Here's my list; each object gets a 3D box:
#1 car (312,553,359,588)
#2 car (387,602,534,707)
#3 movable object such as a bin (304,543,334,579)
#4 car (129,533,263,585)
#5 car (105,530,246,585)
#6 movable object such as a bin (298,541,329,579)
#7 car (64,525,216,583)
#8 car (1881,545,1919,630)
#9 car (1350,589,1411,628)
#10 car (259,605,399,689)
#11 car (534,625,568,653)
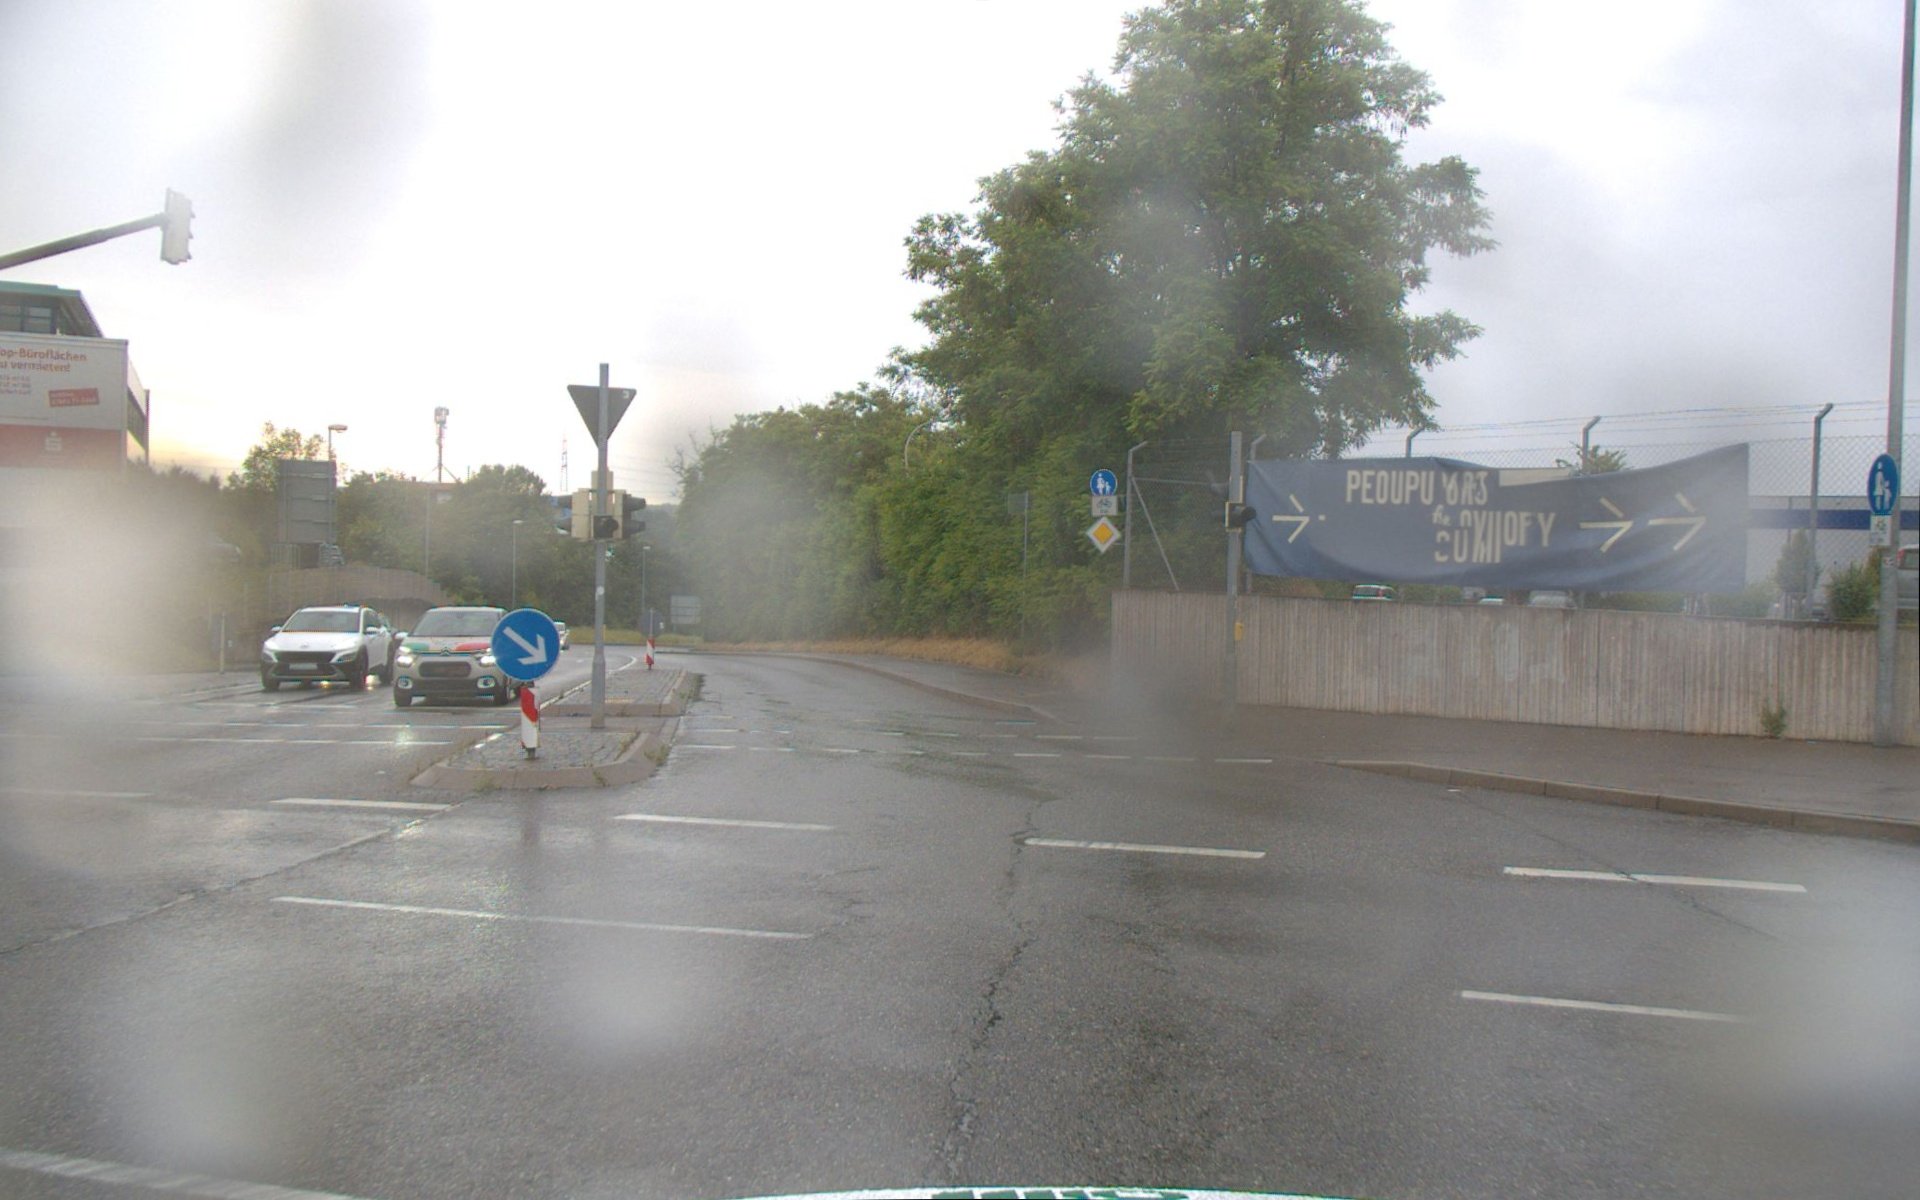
[{"bbox_3d":[-30.143,-1.397,79.915,1.798,1.467,3.980,2,-2,-17],"label":"car"},{"bbox_3d":[-7.844,0.821,26.294,1.630,1.521,3.992,1,-1,-8],"label":"car"},{"bbox_3d":[-27.402,-1.661,70.733,1.066,1.462,1.439,2,-2,-17],"label":"movable object such as a bin"},{"bbox_3d":[-25.948,-1.379,56.186,3.905,1.614,1.902,1,-2,22],"label":"car"},{"bbox_3d":[-25.249,-1.378,53.262,3.905,1.614,1.902,1,-2,22],"label":"car"},{"bbox_3d":[-27.101,-1.660,69.357,1.066,1.462,1.439,2,-2,-17],"label":"movable object such as a bin"},{"bbox_3d":[-25.064,-1.409,50.570,3.903,1.614,1.903,1,-2,18],"label":"car"},{"bbox_3d":[18.866,-0.210,32.074,1.710,1.580,3.523,1,0,30],"label":"car"},{"bbox_3d":[18.134,0.369,71.196,1.635,1.634,3.523,1,0,30],"label":"car"},{"bbox_3d":[-12.209,0.881,32.232,1.688,1.521,3.992,1,-1,-8],"label":"car"},{"bbox_3d":[-22.527,2.145,91.169,1.623,1.454,3.782,1,0,-11],"label":"car"}]
